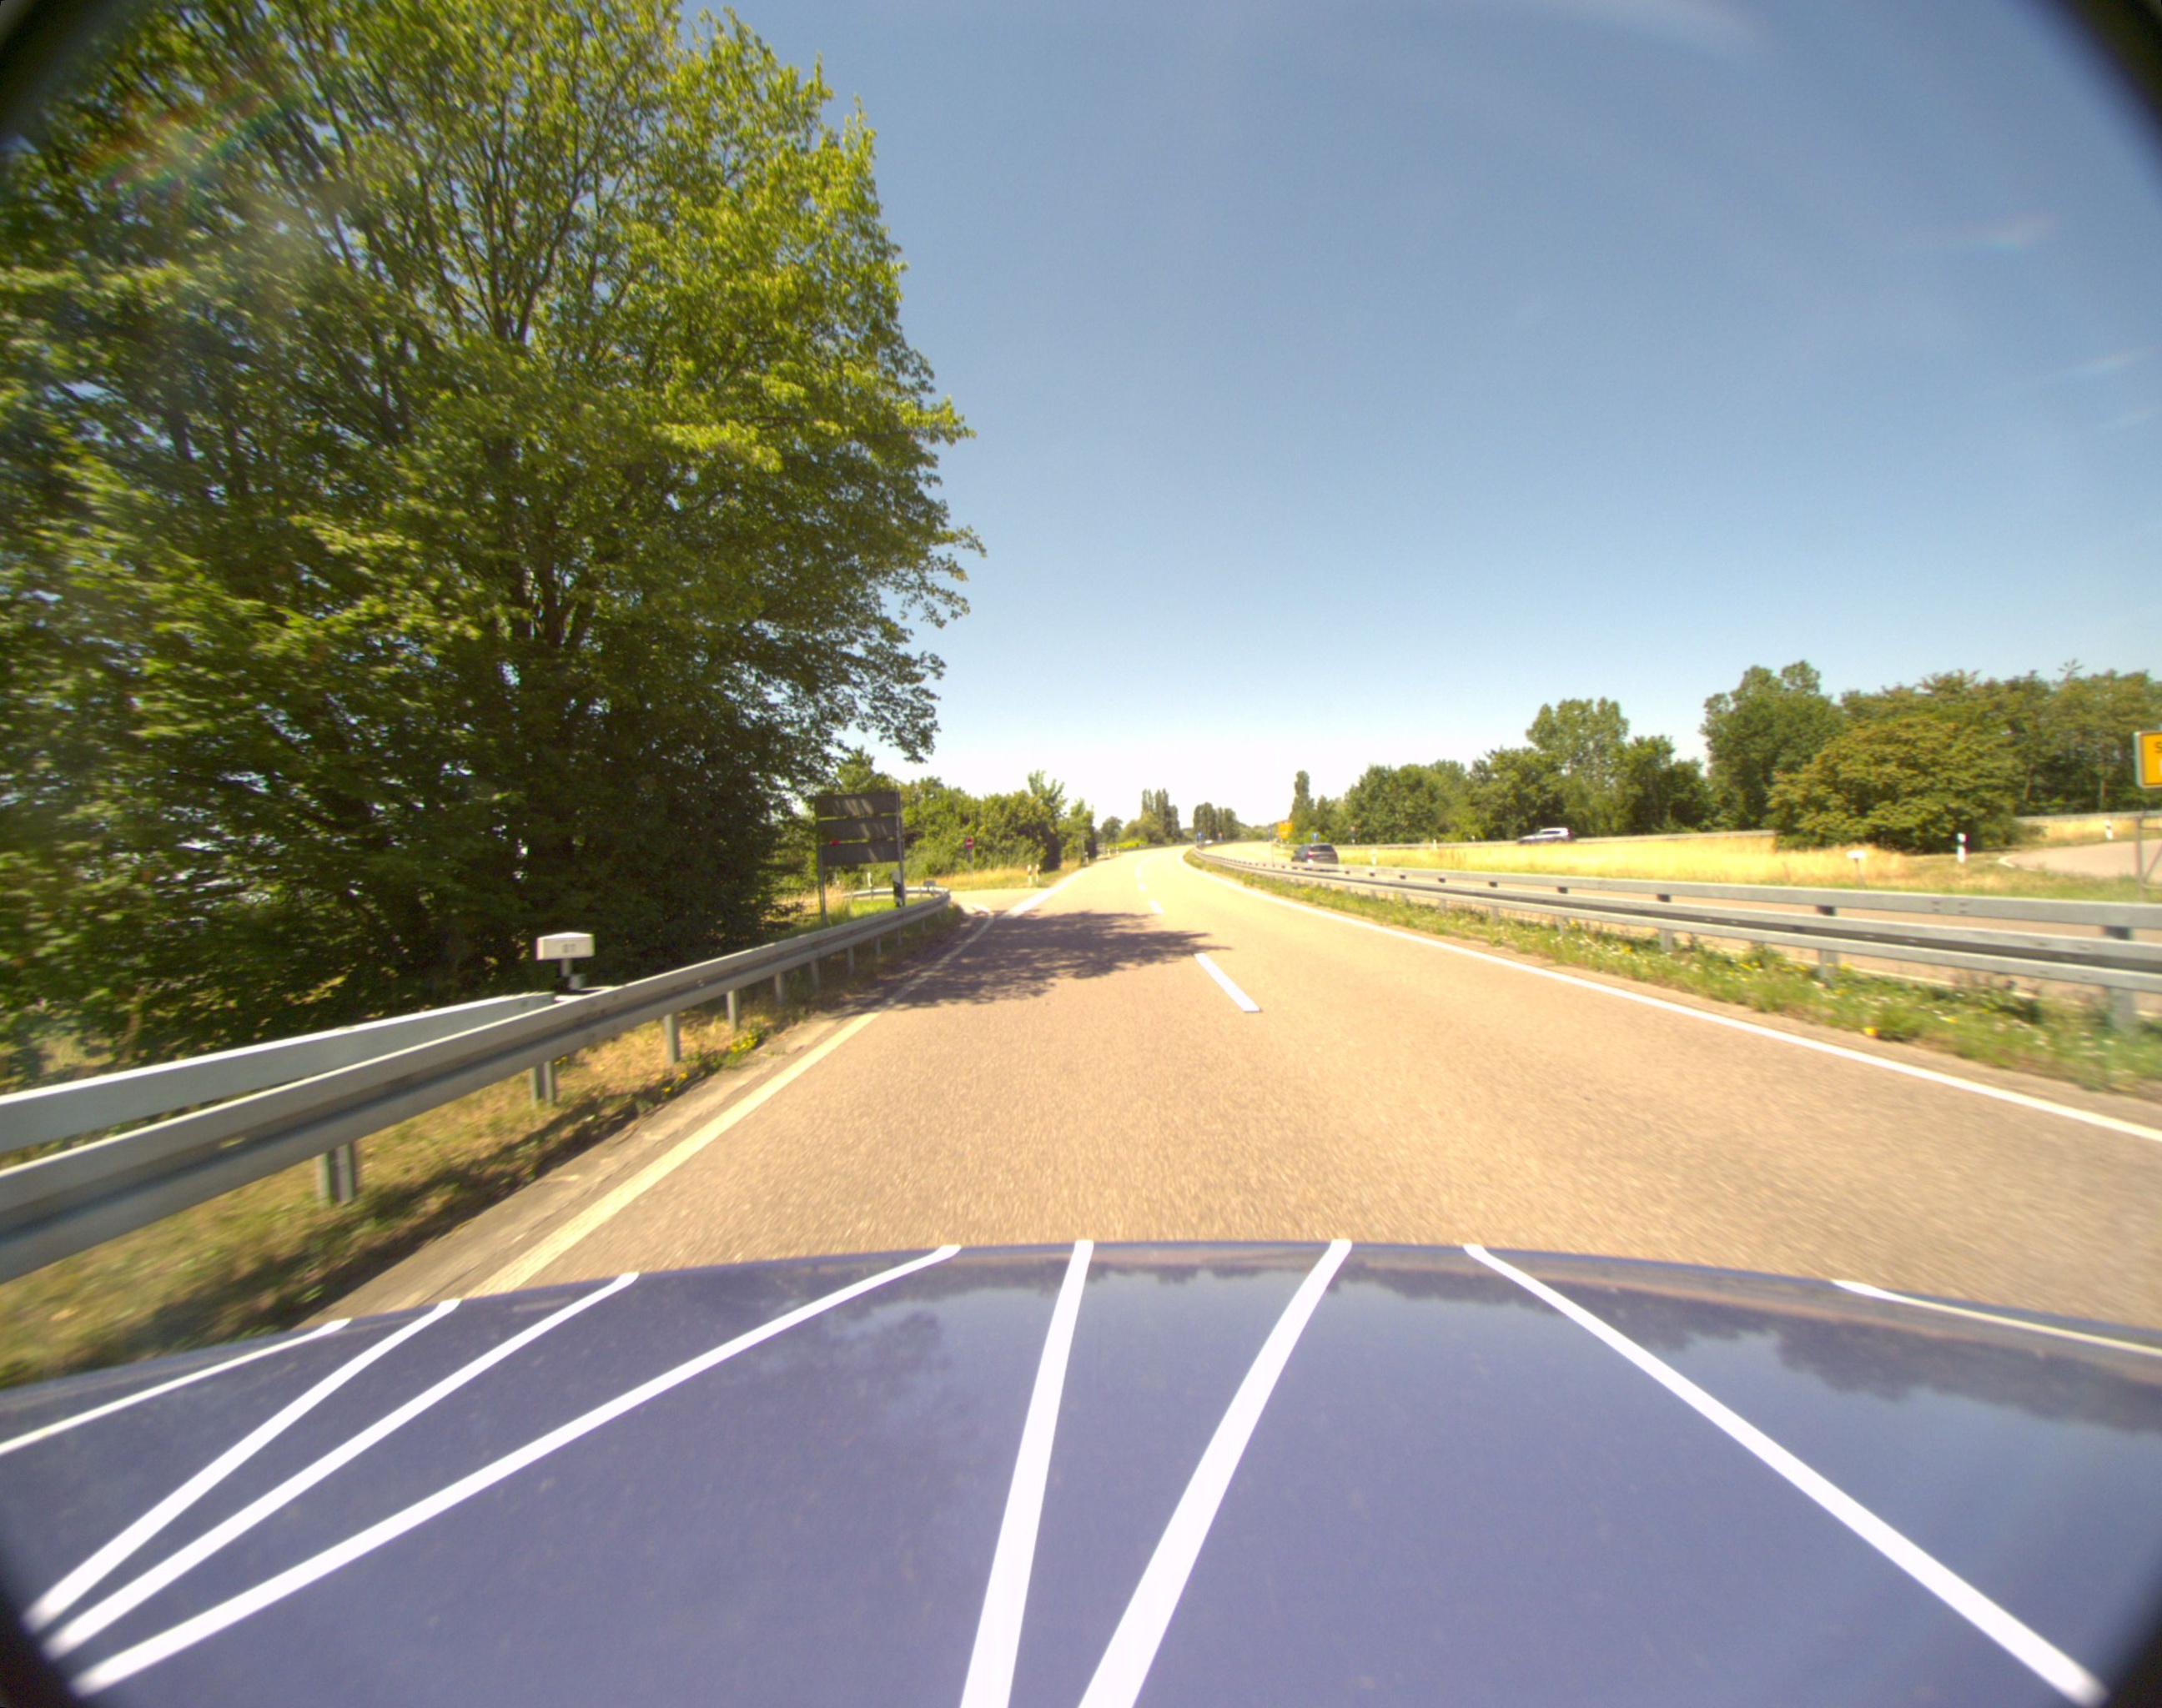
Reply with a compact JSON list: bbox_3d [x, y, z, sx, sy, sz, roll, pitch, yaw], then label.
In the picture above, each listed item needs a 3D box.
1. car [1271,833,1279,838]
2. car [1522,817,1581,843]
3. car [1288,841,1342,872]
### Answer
[{"bbox_3d":[61.514,-5.844,240.648,1.972,1.478,3.874,-3,2,18],"label":"car"},{"bbox_3d":[42.161,-2.165,68.152,2.003,2.002,3.990,-6,2,-42],"label":"car"},{"bbox_3d":[13.371,0.125,43.669,1.828,1.608,4.540,-2,0,3],"label":"car"}]
